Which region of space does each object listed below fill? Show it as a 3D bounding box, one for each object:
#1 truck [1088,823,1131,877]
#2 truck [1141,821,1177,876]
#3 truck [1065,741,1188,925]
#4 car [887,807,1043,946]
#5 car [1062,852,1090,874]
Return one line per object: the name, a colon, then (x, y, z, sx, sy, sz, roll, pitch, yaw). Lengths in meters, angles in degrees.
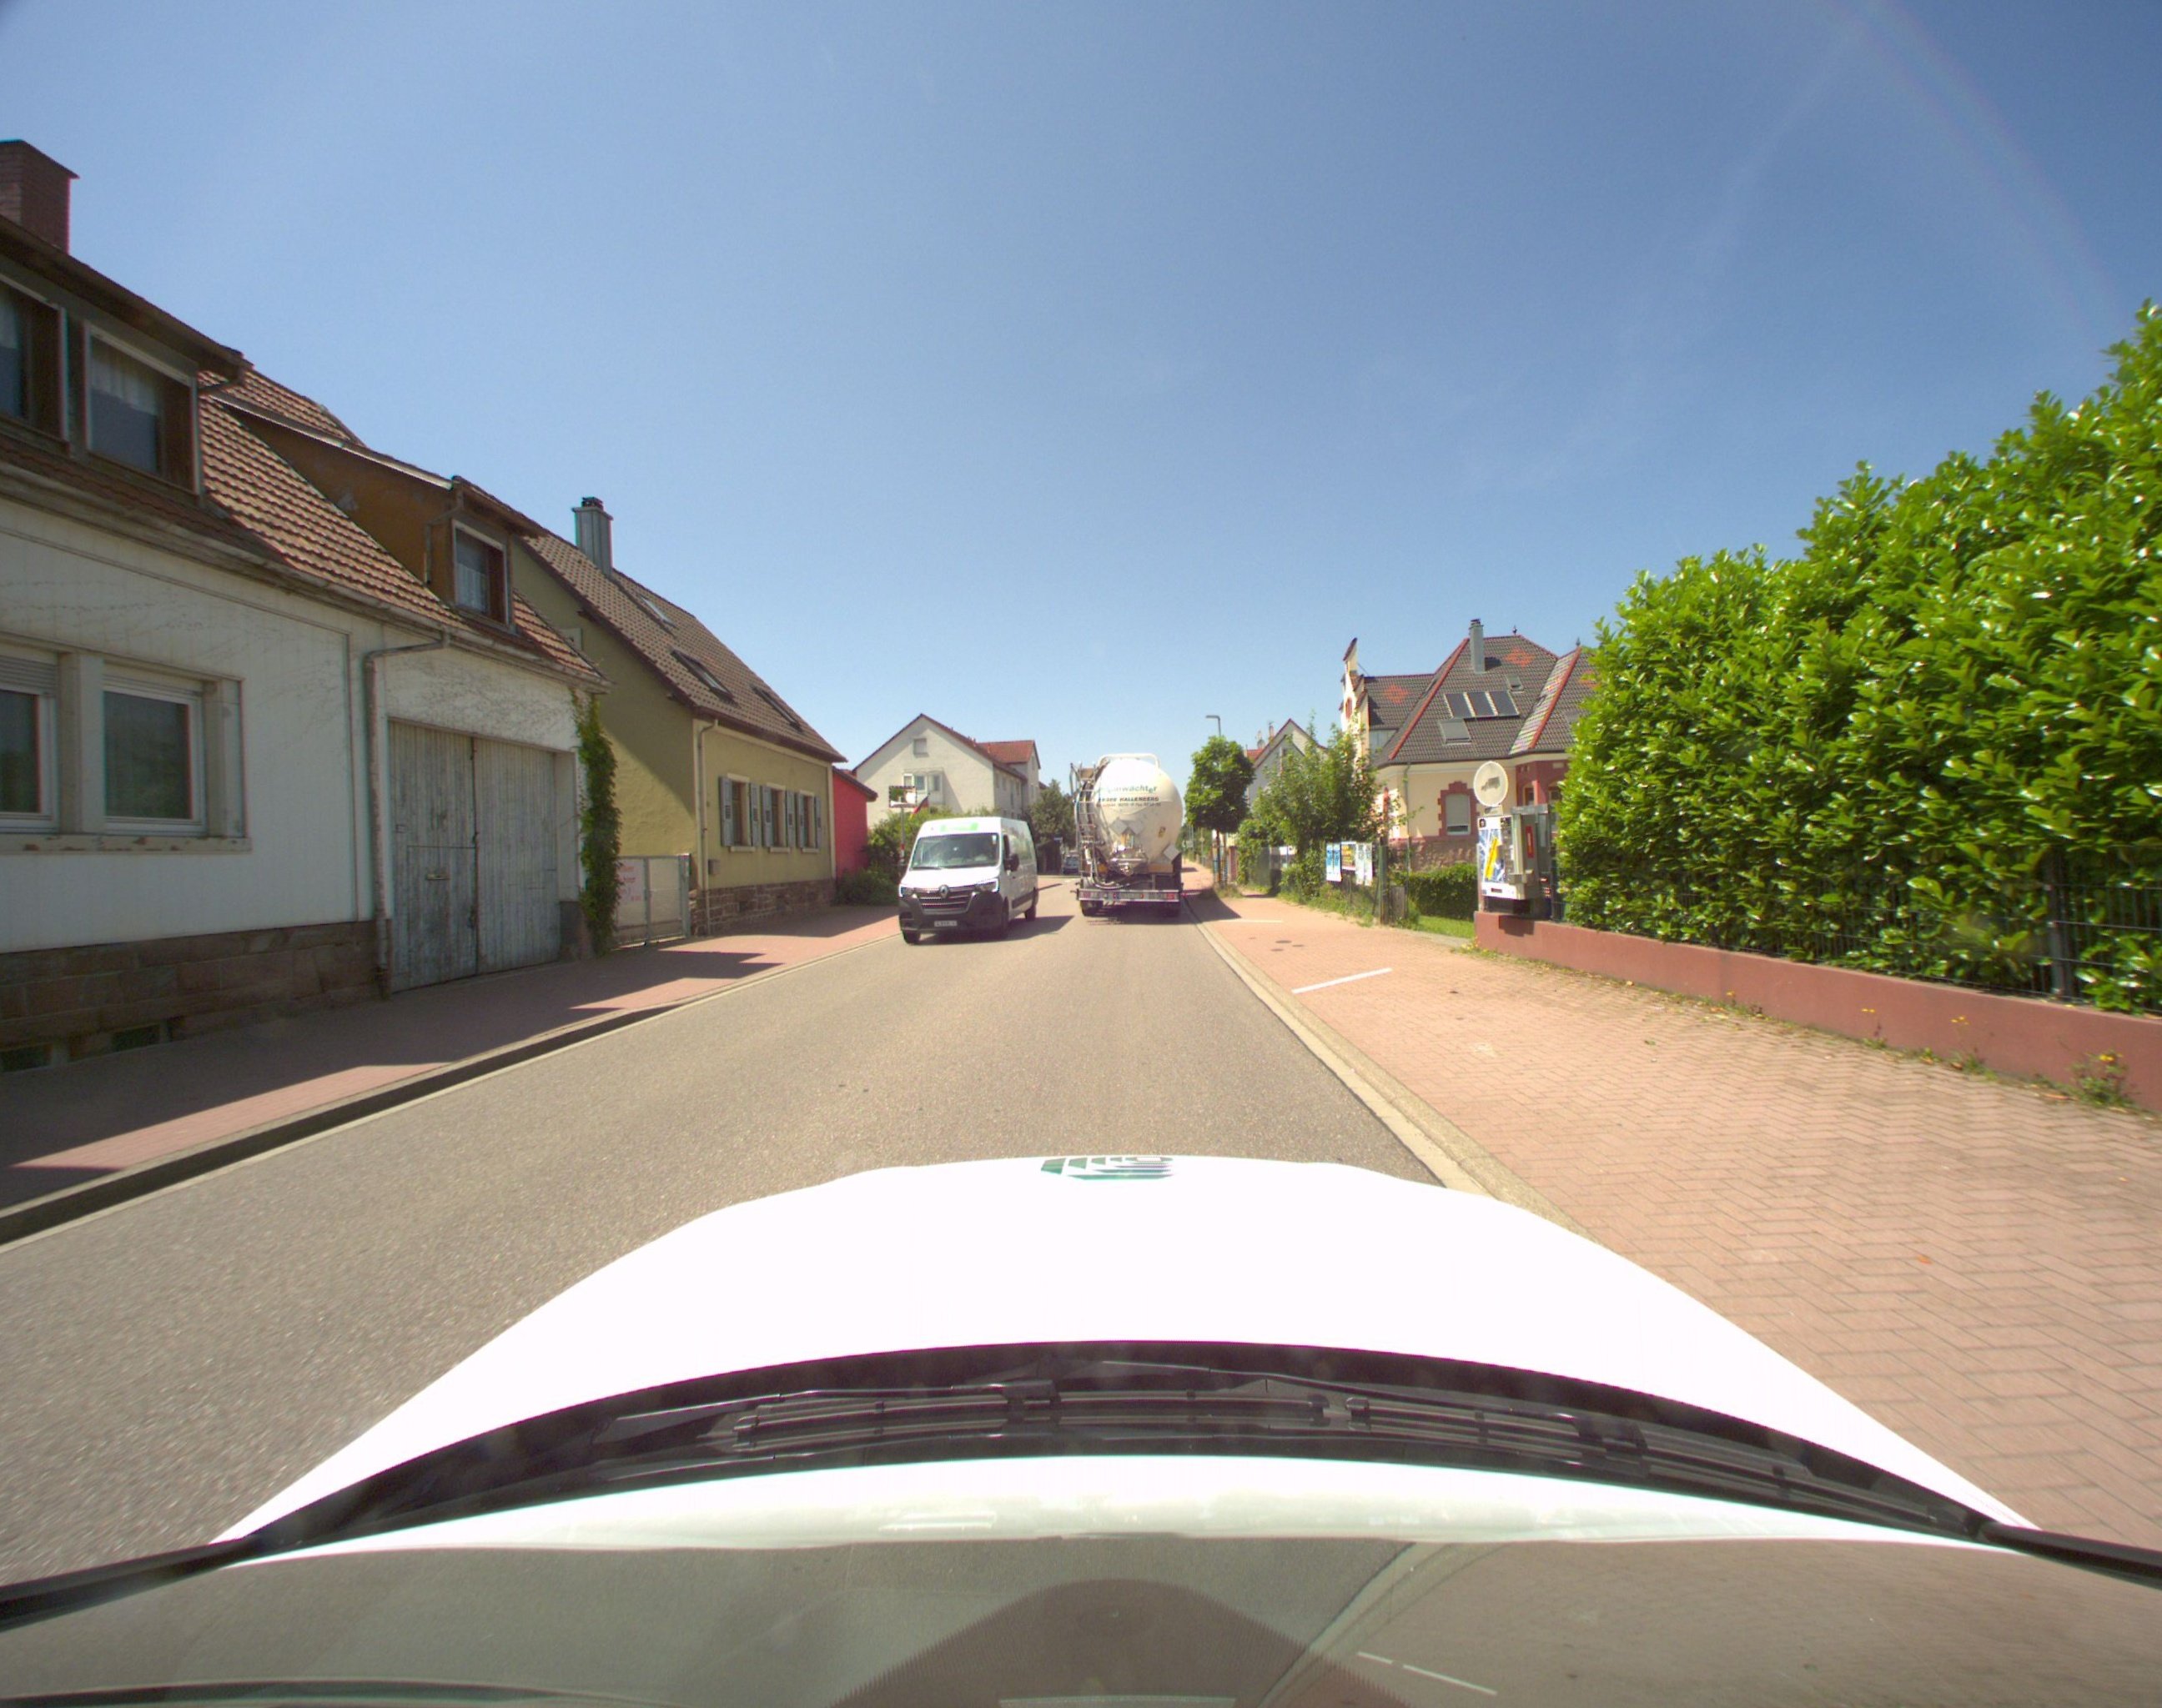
truck: (2.331, -0.320, 63.100, 2.554, 3.700, 10.093, -3, 0, 5)
truck: (6.663, -0.436, 69.334, 2.628, 4.224, 12.112, -2, 0, 5)
truck: (1.310, -0.469, 22.939, 2.630, 4.015, 9.570, -2, 0, 3)
car: (-2.277, 0.411, 17.983, 2.020, 2.461, 6.075, -3, 0, 4)
car: (-0.364, 0.732, 66.175, 1.698, 1.686, 4.533, -1, 0, 6)
